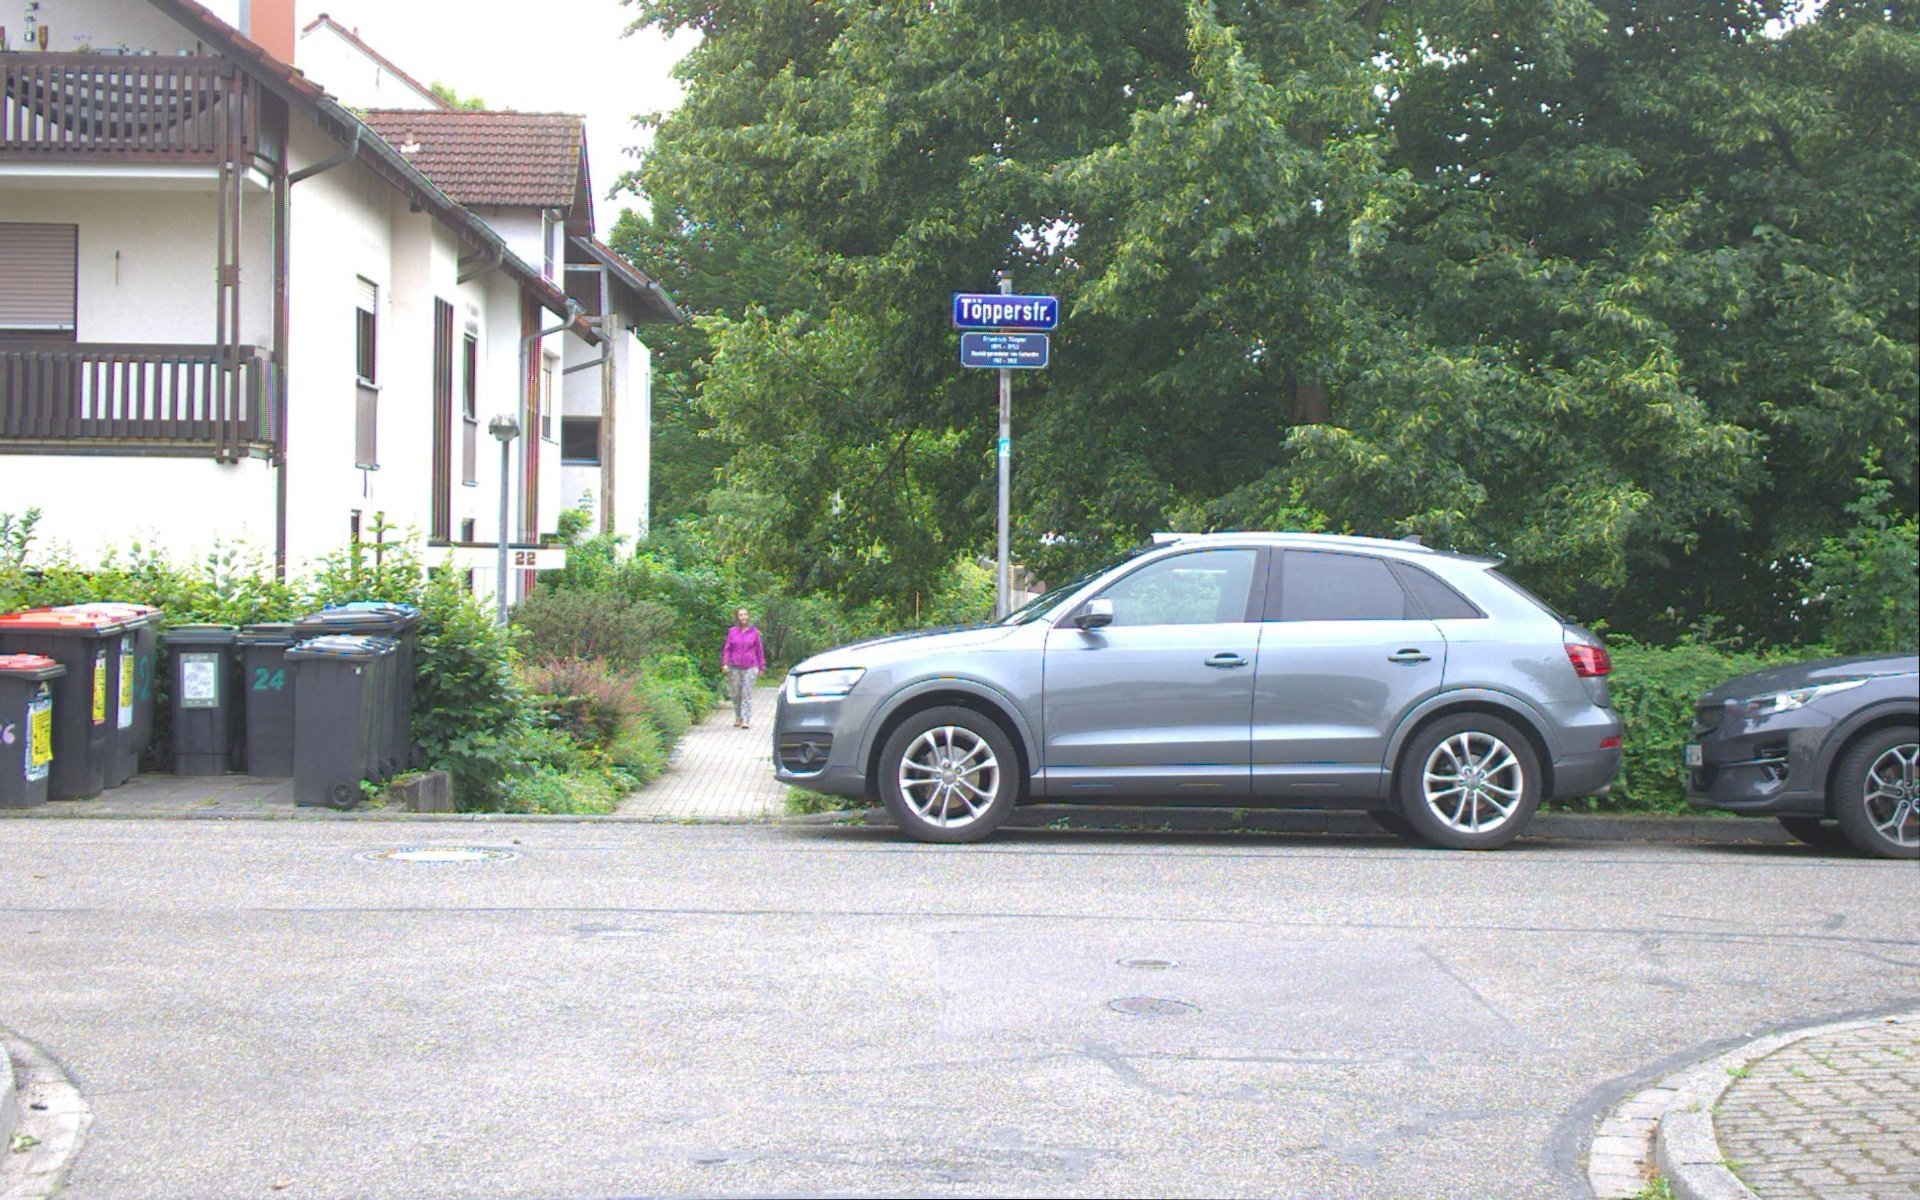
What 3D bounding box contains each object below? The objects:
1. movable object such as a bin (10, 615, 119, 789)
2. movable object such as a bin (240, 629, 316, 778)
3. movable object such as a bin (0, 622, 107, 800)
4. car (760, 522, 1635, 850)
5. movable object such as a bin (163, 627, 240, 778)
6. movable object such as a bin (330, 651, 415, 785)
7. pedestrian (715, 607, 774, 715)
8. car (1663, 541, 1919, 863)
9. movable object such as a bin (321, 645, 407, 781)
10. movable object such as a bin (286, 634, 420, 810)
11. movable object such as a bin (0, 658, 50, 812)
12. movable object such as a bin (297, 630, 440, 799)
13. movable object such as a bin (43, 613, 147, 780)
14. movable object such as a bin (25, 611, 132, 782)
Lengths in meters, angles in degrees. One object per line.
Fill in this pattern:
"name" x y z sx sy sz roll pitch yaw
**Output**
"movable object such as a bin" -5.229 0.593 20.088 0.537 0.990 0.337 2 1 -4
"movable object such as a bin" -4.186 0.630 21.110 0.386 0.886 0.379 2 1 -4
"movable object such as a bin" -5.213 0.633 19.718 0.537 0.990 0.379 2 1 -4
"car" 1.134 0.430 17.572 4.237 1.526 1.747 1 -1 -2
"movable object such as a bin" -4.650 0.623 21.082 0.386 0.898 0.379 2 1 -4
"movable object such as a bin" -3.639 0.727 21.313 0.459 0.795 0.379 2 1 -4
"pedestrian" -3.068 0.865 48.958 0.815 1.512 0.438 0 0 -4
"car" 5.785 0.525 17.281 4.182 1.526 1.747 1 -1 3
"movable object such as a bin" -3.618 0.684 20.895 0.459 0.795 0.379 2 1 -4
"movable object such as a bin" -3.457 0.686 19.603 0.638 0.950 0.723 2 1 -3
"movable object such as a bin" -5.349 0.754 19.289 0.386 0.834 0.379 2 1 -4
"movable object such as a bin" -3.494 0.672 20.328 0.733 0.950 0.584 2 1 -2
"movable object such as a bin" -5.267 0.585 20.940 0.537 0.990 0.337 2 1 -4
"movable object such as a bin" -5.242 0.570 20.448 0.537 0.990 0.337 2 1 -4
